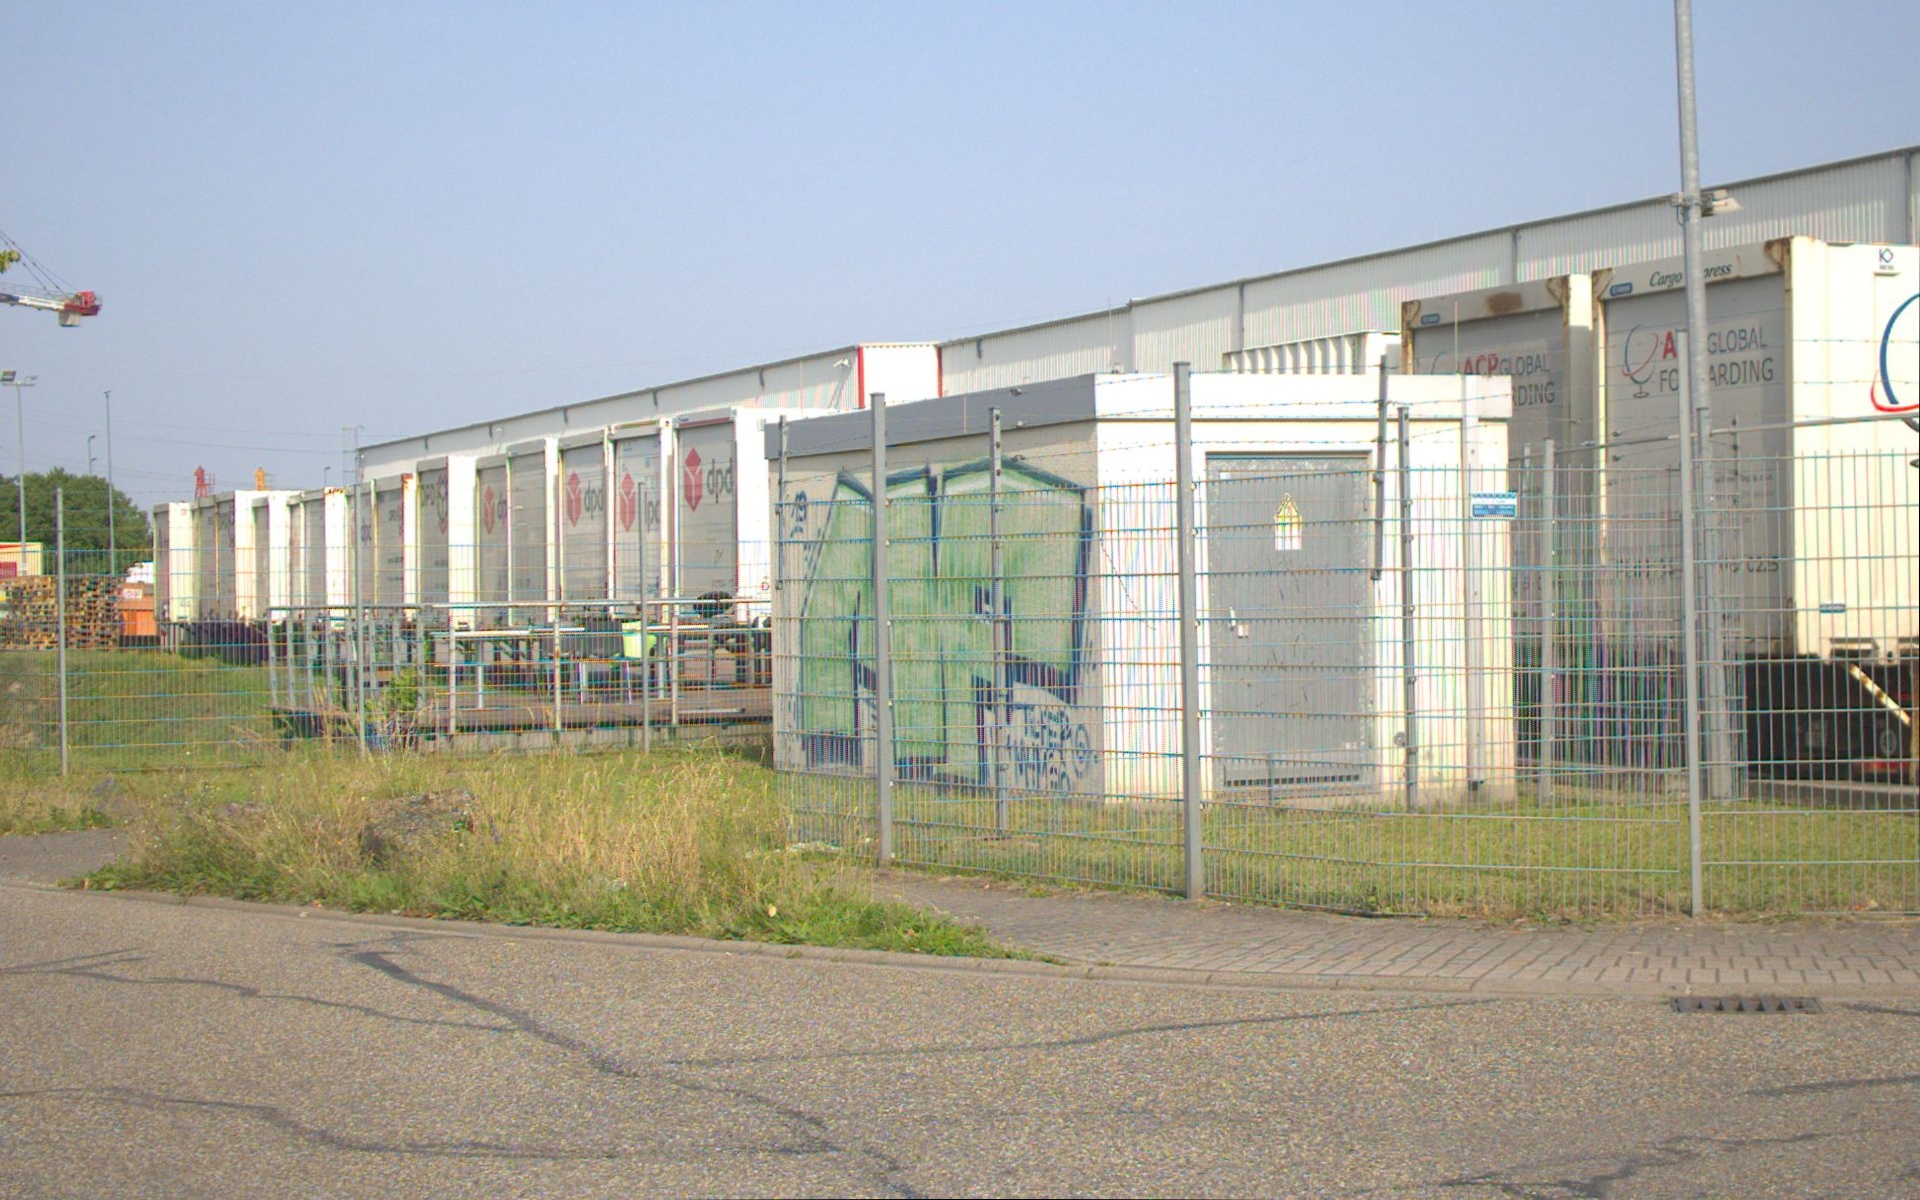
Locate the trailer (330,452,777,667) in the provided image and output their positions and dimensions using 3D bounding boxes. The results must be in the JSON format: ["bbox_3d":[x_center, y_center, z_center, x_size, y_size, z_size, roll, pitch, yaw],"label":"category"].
[{"bbox_3d":[-7.770,-0.733,65.877,7.960,3.880,2.776,1,0,-23],"label":"trailer"}]

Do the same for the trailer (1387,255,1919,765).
[{"bbox_3d":[8.089,-0.815,29.019,8.534,3.880,2.776,-2,1,-22],"label":"trailer"}]

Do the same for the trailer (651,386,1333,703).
[{"bbox_3d":[0.467,-0.652,45.359,8.533,3.880,2.776,1,0,-23],"label":"trailer"}]

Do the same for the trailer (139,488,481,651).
[{"bbox_3d":[-16.312,-0.732,86.296,7.960,3.880,2.743,1,0,-23],"label":"trailer"}]

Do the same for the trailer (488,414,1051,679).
[{"bbox_3d":[-2.953,-0.772,53.895,8.305,3.880,2.776,1,0,-23],"label":"trailer"}]

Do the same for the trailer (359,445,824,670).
[{"bbox_3d":[-6.744,-0.733,63.111,7.960,3.880,2.776,1,0,-23],"label":"trailer"}]

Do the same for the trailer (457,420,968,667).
[{"bbox_3d":[-4.129,-0.892,57.699,8.031,3.880,2.776,1,0,-23],"label":"trailer"}]

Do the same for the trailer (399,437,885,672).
[{"bbox_3d":[-5.561,-0.751,60.333,7.960,3.880,2.776,1,0,-23],"label":"trailer"}]

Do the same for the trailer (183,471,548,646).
[{"bbox_3d":[-13.947,-0.934,80.763,7.960,3.880,2.776,1,0,-23],"label":"trailer"}]

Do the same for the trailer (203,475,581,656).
[{"bbox_3d":[-12.867,-0.751,78.012,7.960,3.880,2.776,1,0,-23],"label":"trailer"}]

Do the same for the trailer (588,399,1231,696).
[{"bbox_3d":[-0.670,-0.666,48.273,8.533,3.880,2.776,1,0,-23],"label":"trailer"}]

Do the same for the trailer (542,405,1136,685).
[{"bbox_3d":[-1.760,-0.753,51.073,8.305,3.880,2.776,1,0,-23],"label":"trailer"}]

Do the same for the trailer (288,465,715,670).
[{"bbox_3d":[-9.171,-0.609,68.872,7.960,3.880,2.776,1,0,-23],"label":"trailer"}]

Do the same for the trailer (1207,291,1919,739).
[{"bbox_3d":[6.833,-0.734,31.782,8.729,3.748,2.791,0,0,-23],"label":"trailer"}]

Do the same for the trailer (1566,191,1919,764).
[{"bbox_3d":[9.097,-0.846,26.077,8.533,3.881,2.776,-1,-2,-21],"label":"trailer"}]

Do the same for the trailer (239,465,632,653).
[{"bbox_3d":[-11.421,-0.863,75.024,7.960,3.880,2.776,1,0,-23],"label":"trailer"}]
